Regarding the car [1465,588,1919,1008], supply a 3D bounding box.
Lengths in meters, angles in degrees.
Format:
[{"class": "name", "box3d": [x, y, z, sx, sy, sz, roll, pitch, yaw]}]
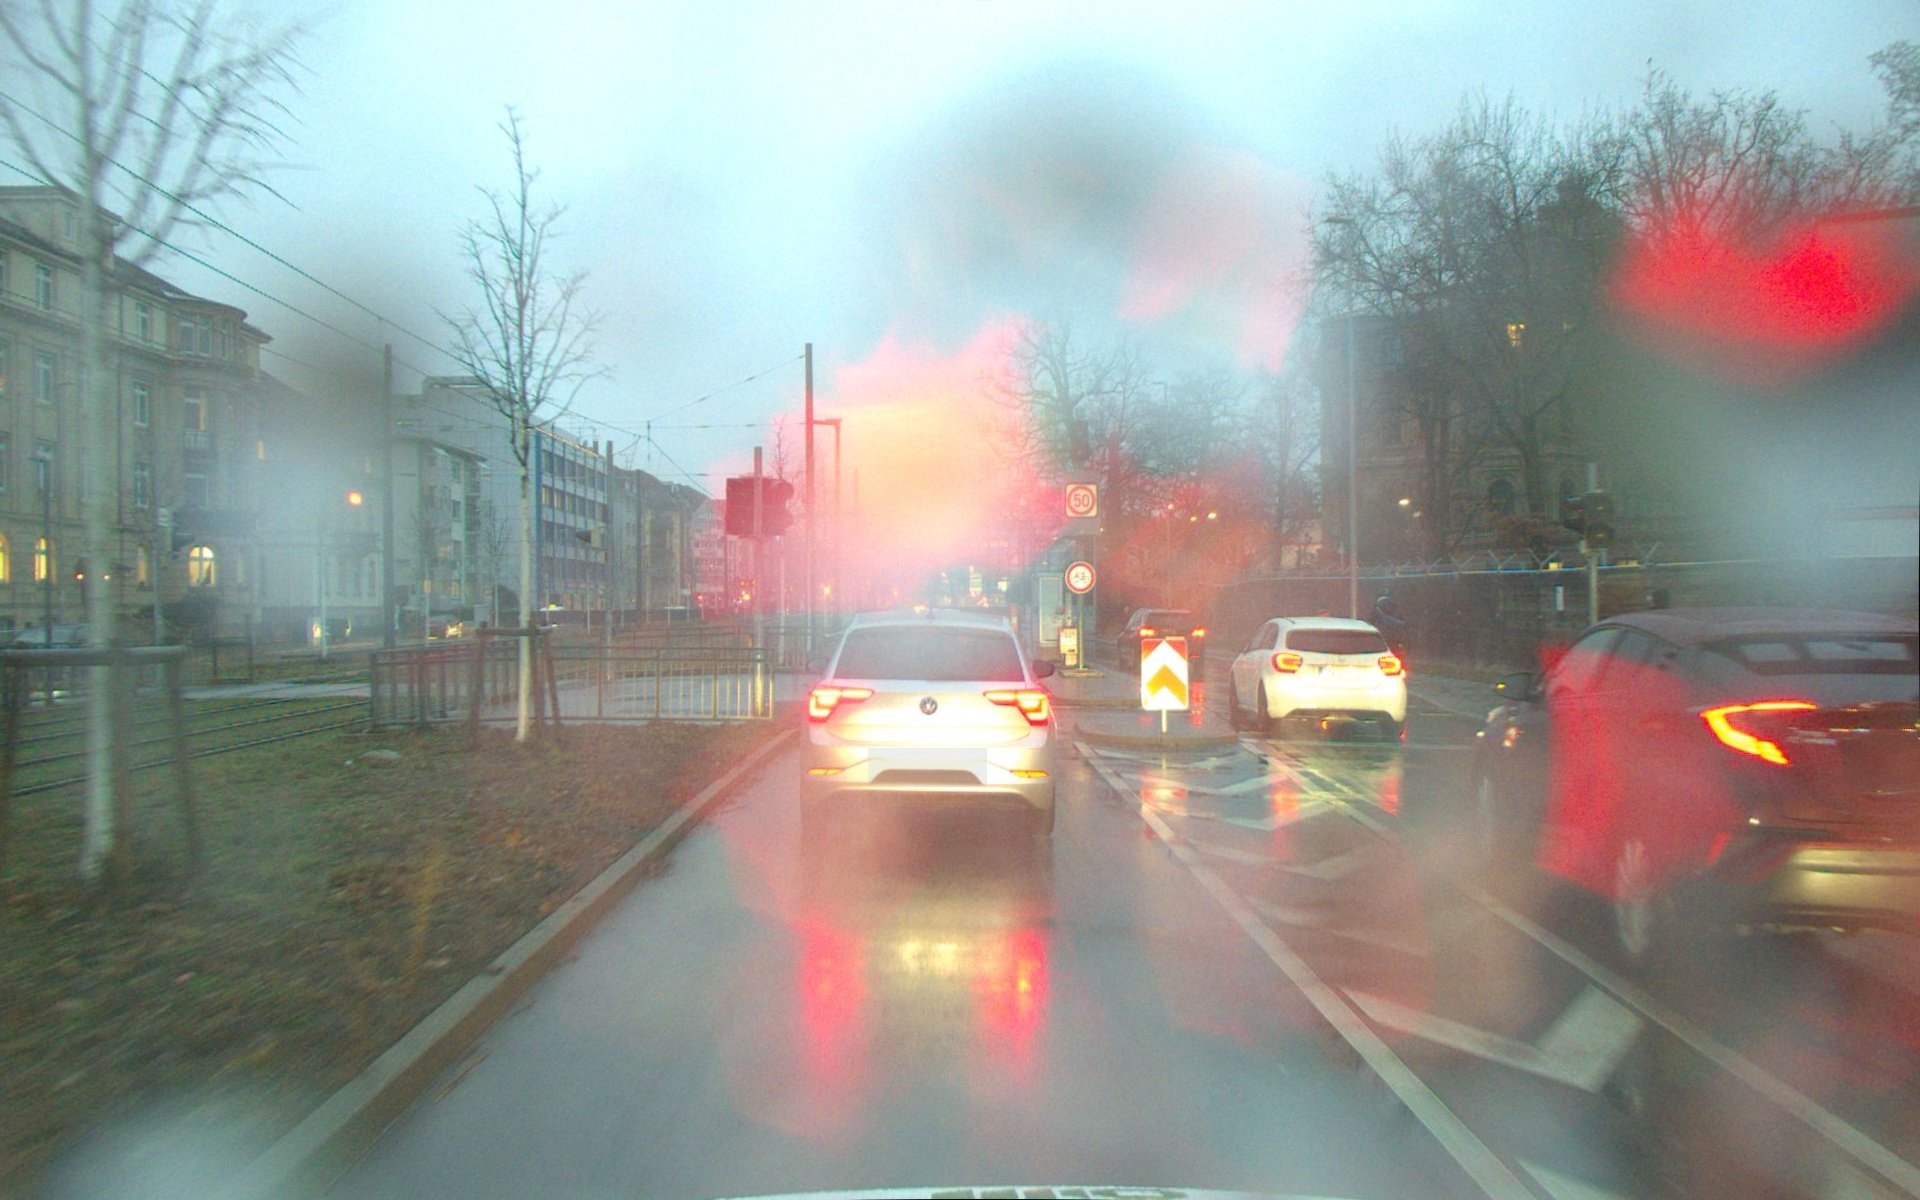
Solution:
[{"class": "car", "box3d": [3.731, 0.761, 7.988, 1.686, 1.505, 4.002, 1, -1, 5]}]

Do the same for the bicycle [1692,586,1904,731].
[{"class": "bicycle", "box3d": [10.206, 0.684, 20.203, 2.206, 1.686, 0.686, 0, -1, 40]}]

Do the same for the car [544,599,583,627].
[{"class": "car", "box3d": [-29.051, 0.954, 121.387, 1.954, 1.967, 4.908, -1, 0, -4]}]

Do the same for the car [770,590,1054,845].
[{"class": "car", "box3d": [-0.293, 0.727, 12.007, 1.687, 1.505, 4.000, 1, 0, 0]}]

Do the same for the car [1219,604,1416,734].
[{"class": "car", "box3d": [4.559, 0.852, 21.649, 1.687, 1.505, 3.999, 1, -1, 0]}]

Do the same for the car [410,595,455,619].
[{"class": "car", "box3d": [-33.422, 0.426, 104.840, 1.770, 1.461, 3.924, -1, 0, -4]}]

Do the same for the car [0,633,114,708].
[{"class": "car", "box3d": [-21.782, 1.608, 38.898, 1.765, 1.613, 3.998, 1, -1, -2]}]

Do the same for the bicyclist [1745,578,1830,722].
[{"class": "bicyclist", "box3d": [10.115, 0.598, 20.212, 0.802, 1.708, 0.694, -1, -1, 37]}]

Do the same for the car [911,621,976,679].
[{"class": "car", "box3d": [-0.441, 1.355, 46.069, 1.687, 1.505, 3.999, 1, -1, 0]}]

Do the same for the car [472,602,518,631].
[{"class": "car", "box3d": [-29.416, 1.015, 104.793, 1.954, 1.722, 4.108, -1, 0, -4]}]

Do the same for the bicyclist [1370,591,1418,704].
[{"class": "bicyclist", "box3d": [7.058, 0.765, 26.913, 0.490, 1.798, 0.836, -1, 0, -3]}]

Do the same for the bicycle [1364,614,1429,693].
[{"class": "bicycle", "box3d": [7.050, 0.846, 26.779, 0.403, 1.206, 2.028, -1, 0, -3]}]

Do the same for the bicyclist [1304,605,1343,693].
[{"class": "bicyclist", "box3d": [6.832, 0.905, 31.095, 0.490, 1.619, 0.836, -1, 0, -3]}]

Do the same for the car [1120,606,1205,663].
[{"class": "car", "box3d": [4.957, 0.843, 40.941, 1.590, 1.322, 3.999, 1, -1, 0]}]
